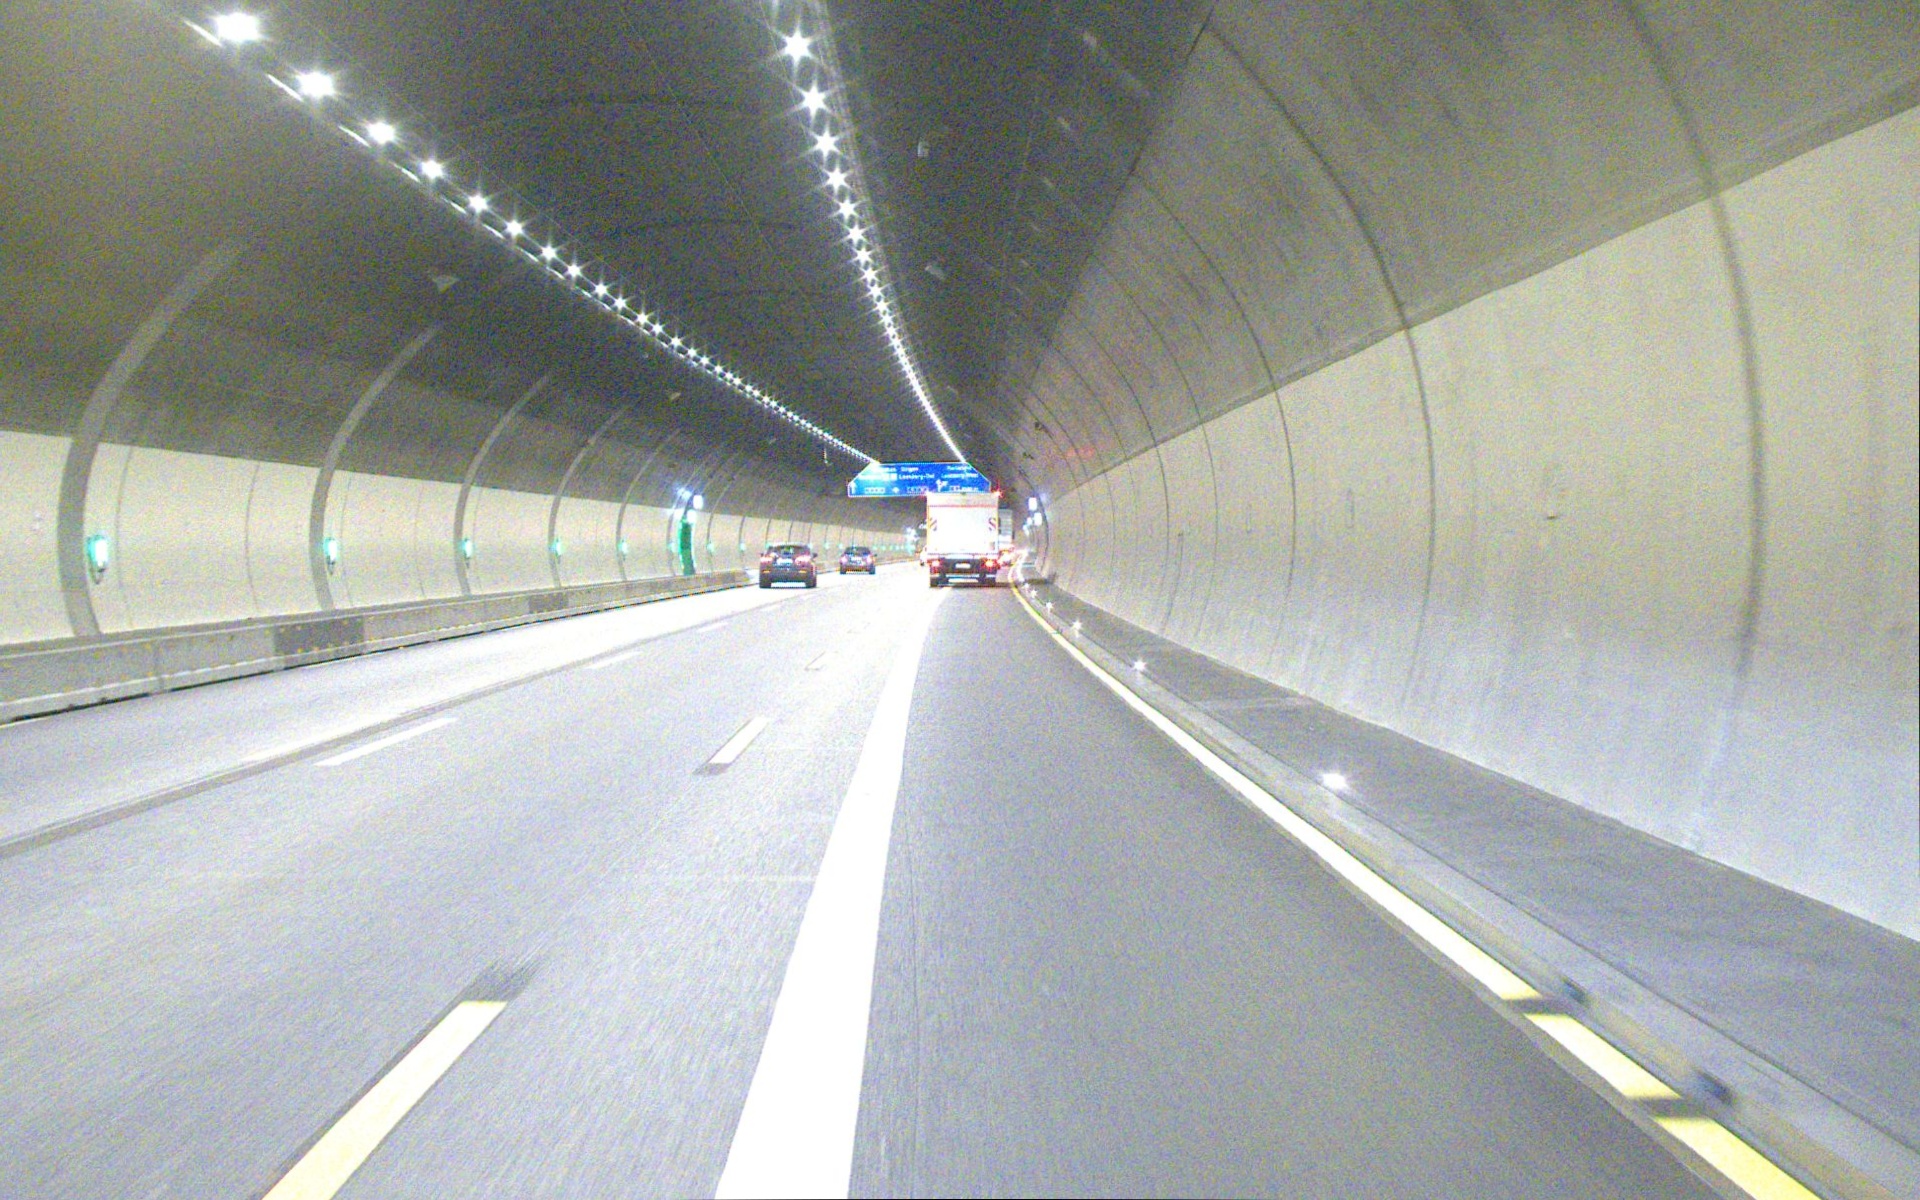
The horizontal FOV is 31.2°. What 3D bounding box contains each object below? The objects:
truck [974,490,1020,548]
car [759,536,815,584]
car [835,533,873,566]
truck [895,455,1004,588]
[{"bbox_3d":[2.649,-5.858,249.122,2.922,4.034,14.030,-1,1,-1],"label":"truck"},{"bbox_3d":[-5.964,-1.391,118.946,1.812,1.612,4.001,0,1,-1],"label":"car"},{"bbox_3d":[-5.357,-2.562,173.384,1.812,1.514,4.001,0,3,-3],"label":"car"},{"bbox_3d":[-0.547,-2.939,129.790,3.278,4.634,17.289,-1,1,-3],"label":"truck"}]
